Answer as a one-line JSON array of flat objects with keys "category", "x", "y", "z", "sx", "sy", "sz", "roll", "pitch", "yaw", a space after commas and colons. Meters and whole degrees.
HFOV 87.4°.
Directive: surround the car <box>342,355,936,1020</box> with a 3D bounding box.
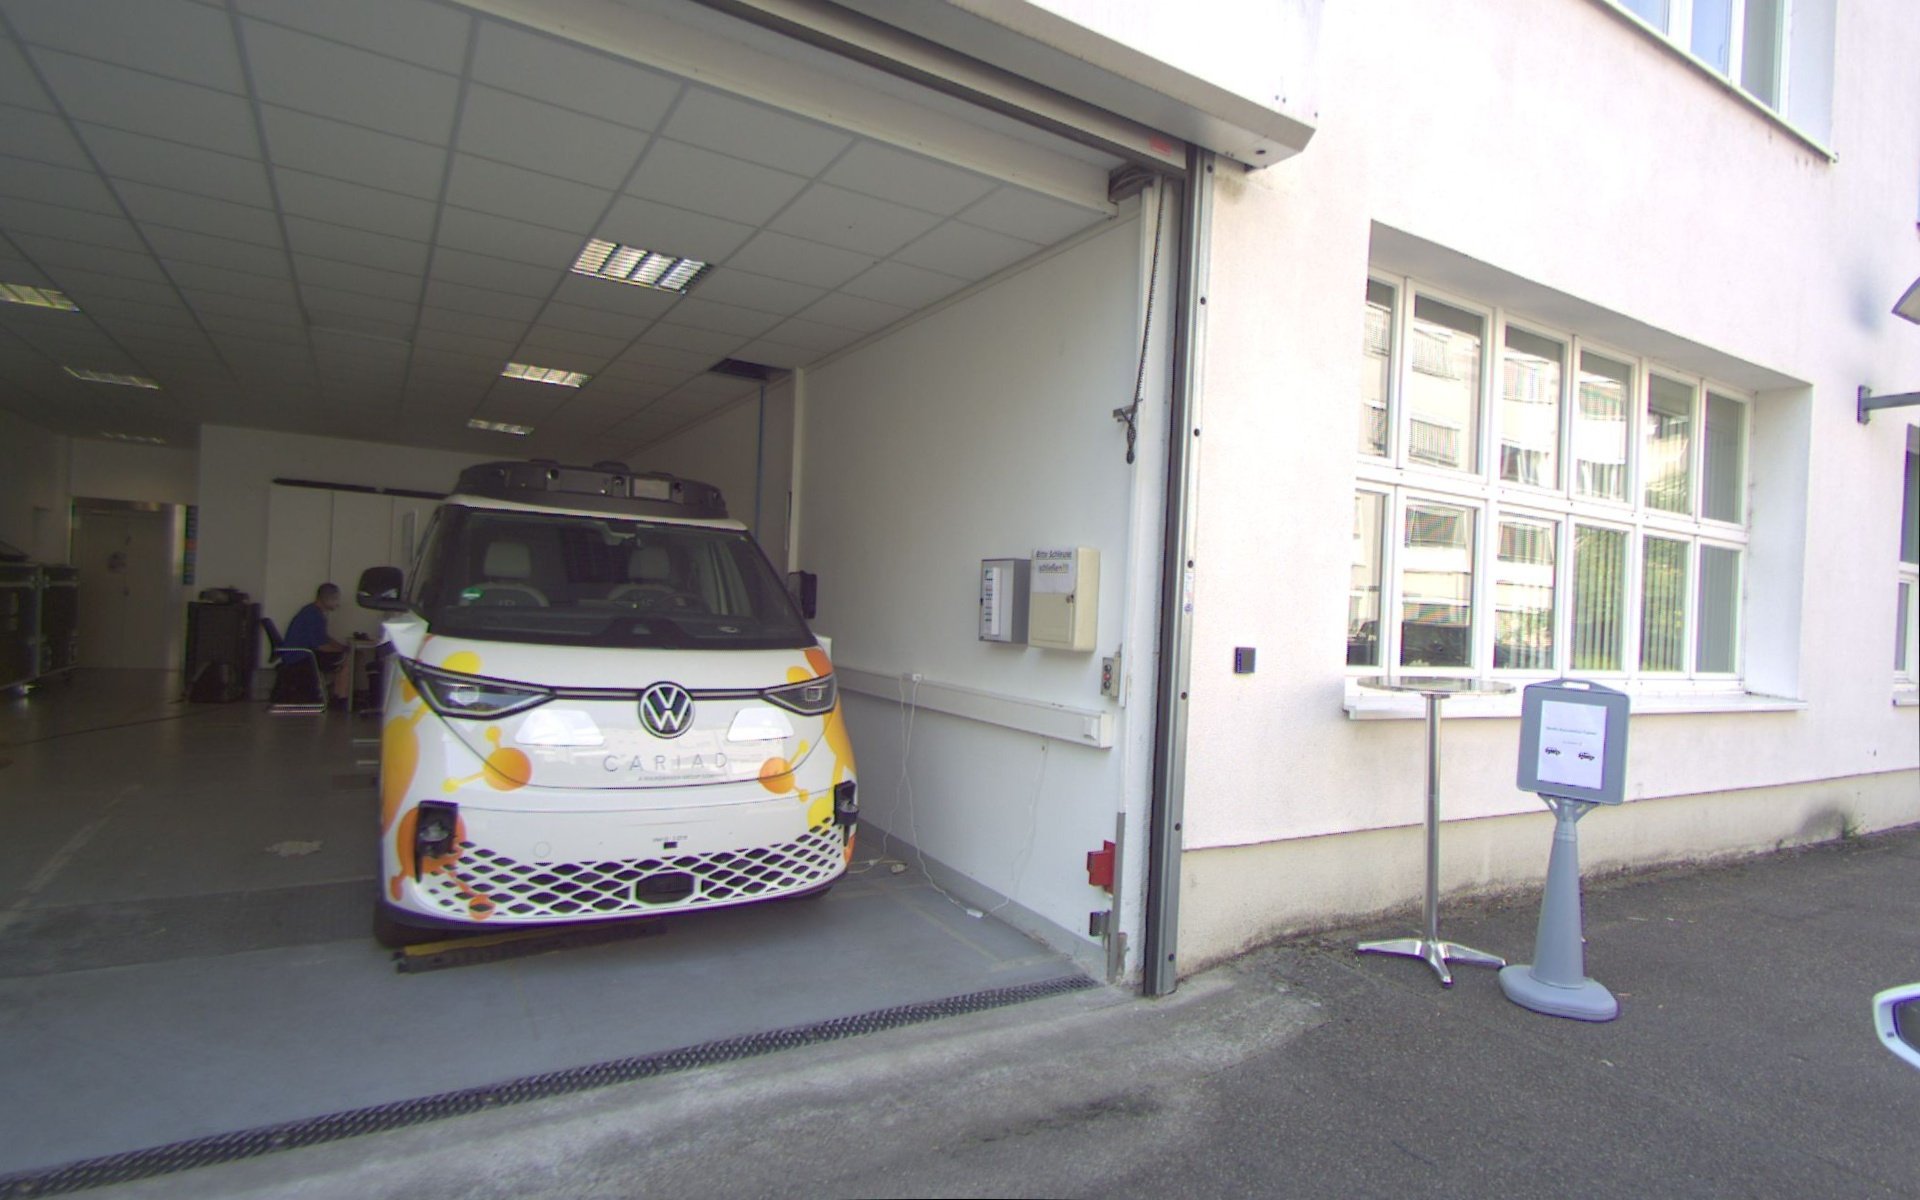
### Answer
[{"category": "car", "x": -2.211, "y": 0.258, "z": 5.768, "sx": 2.032, "sy": 2.120, "sz": 4.723, "roll": 4, "pitch": 0, "yaw": -30}]
